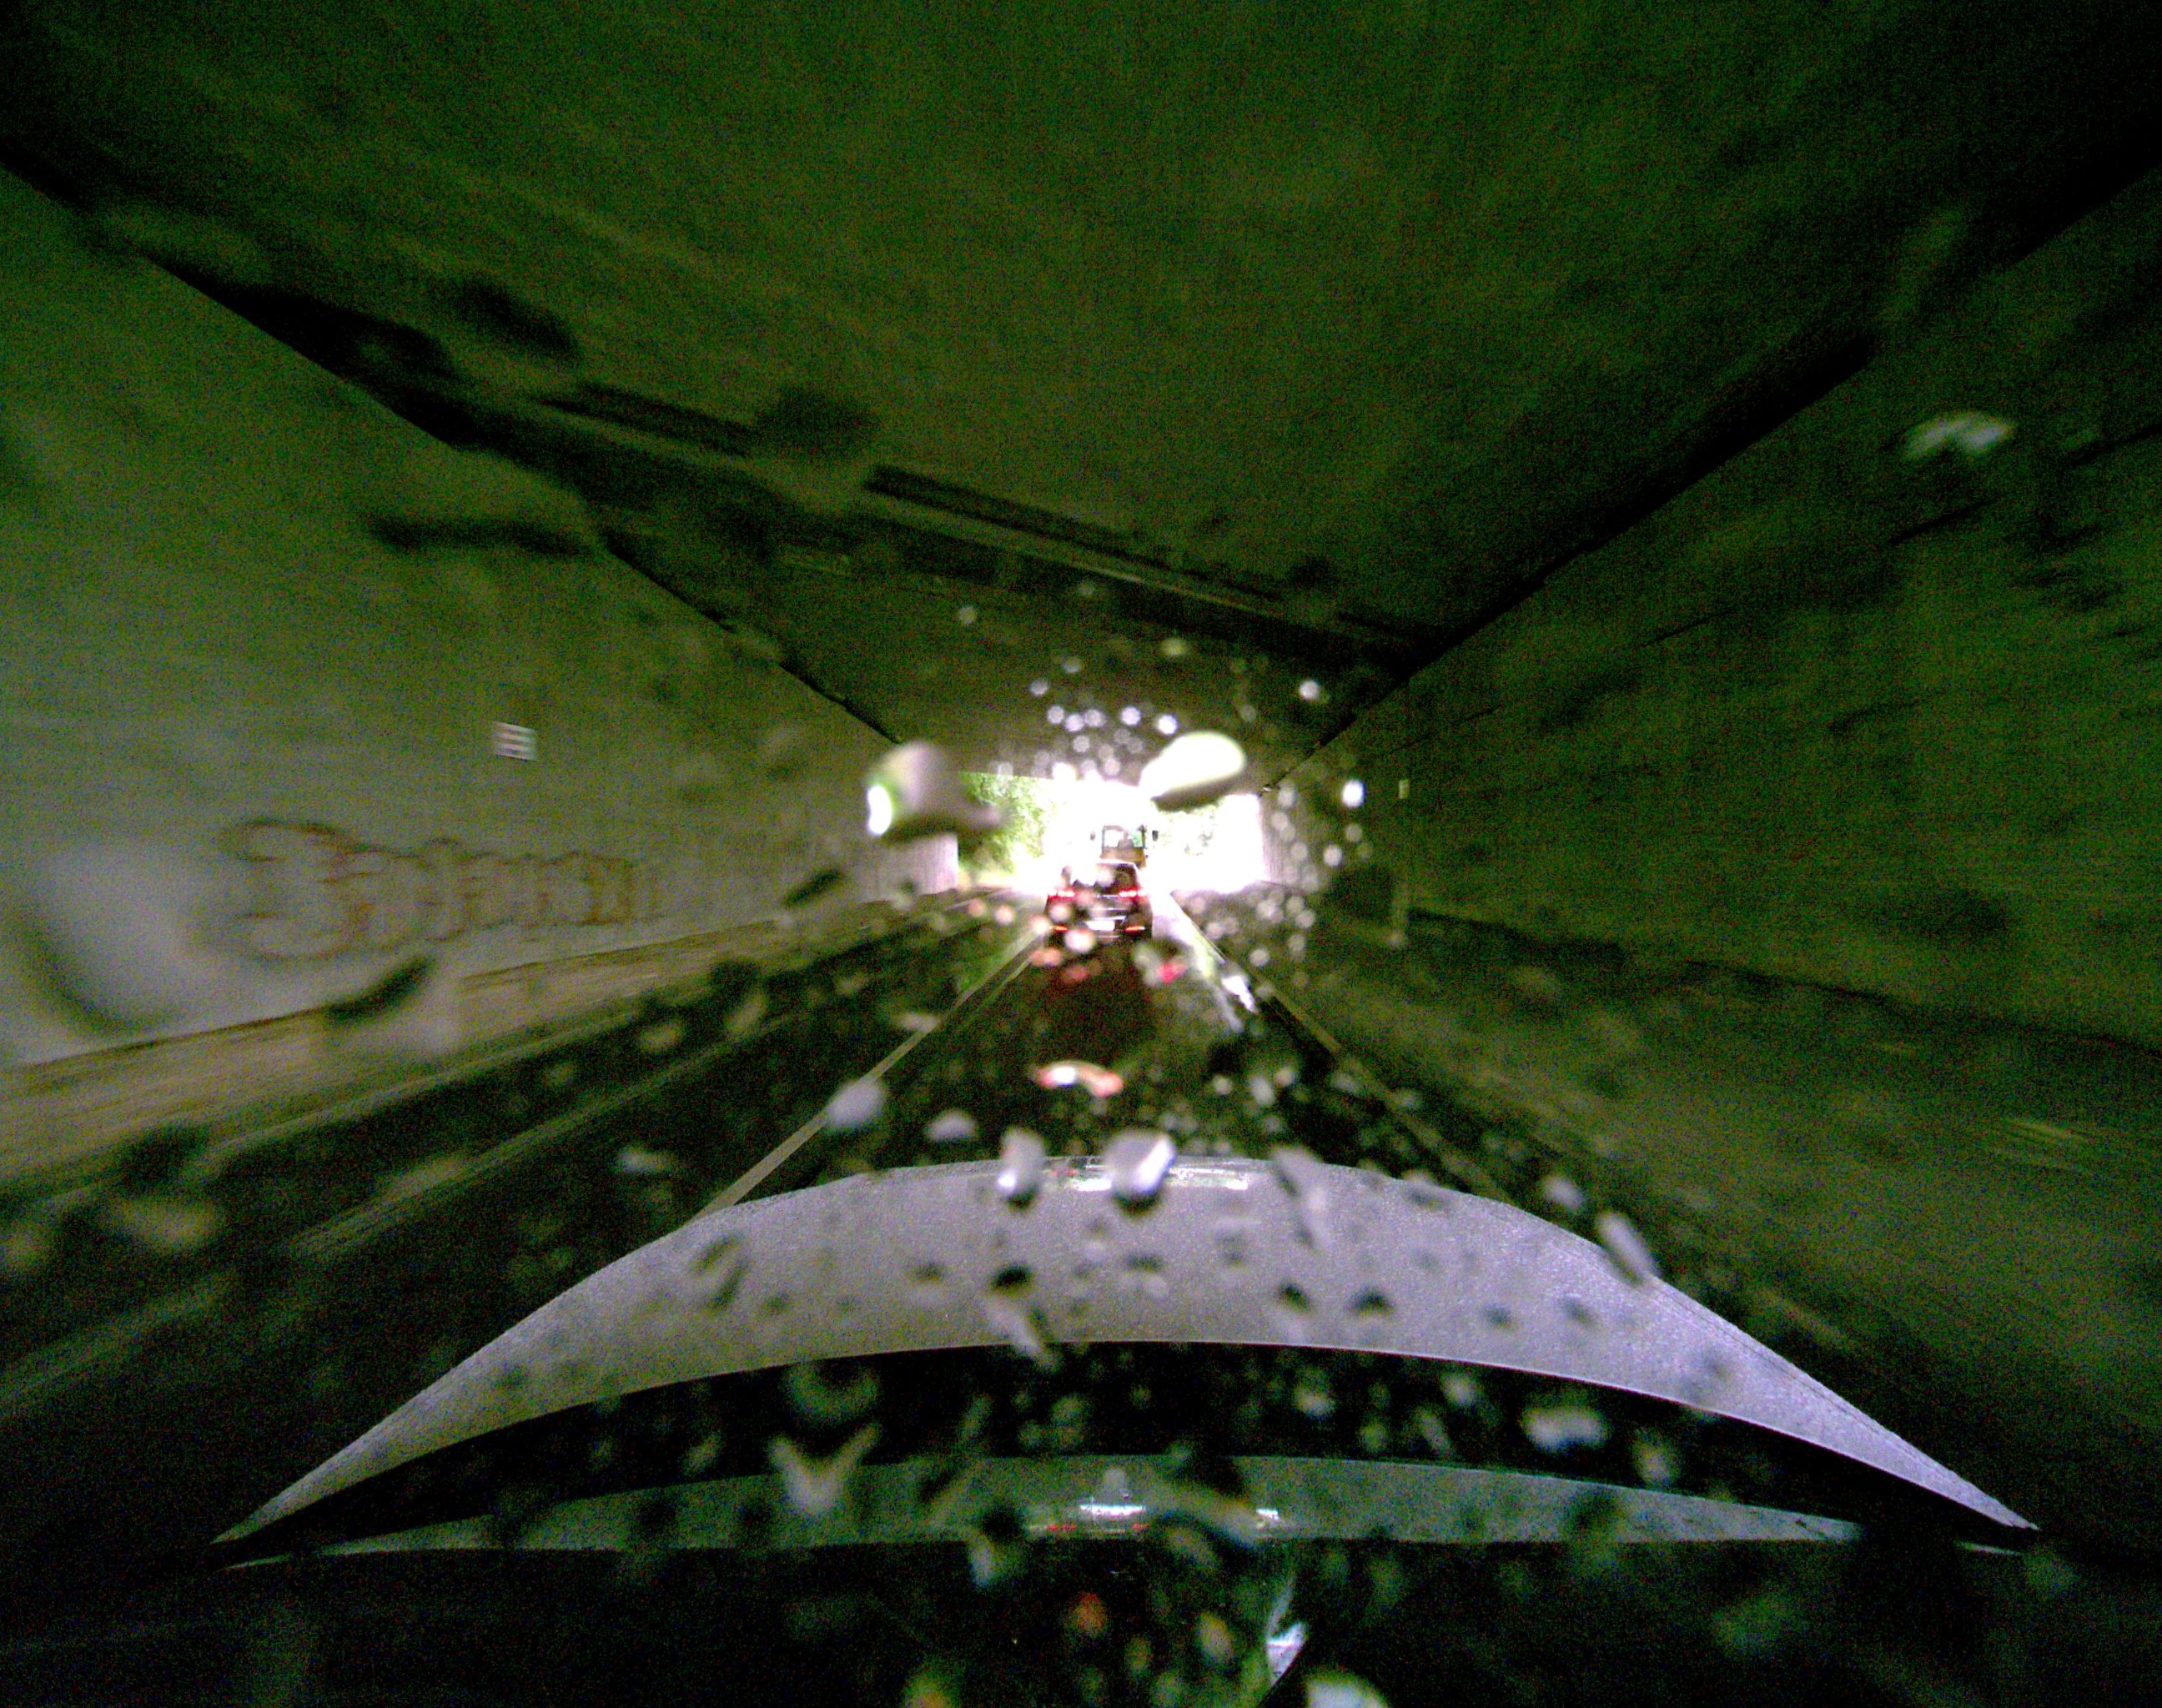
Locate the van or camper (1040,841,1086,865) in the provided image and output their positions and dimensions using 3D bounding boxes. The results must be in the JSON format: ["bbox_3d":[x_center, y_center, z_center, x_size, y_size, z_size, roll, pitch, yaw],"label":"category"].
[{"bbox_3d":[-1.661,-0.074,72.347,2.007,2.098,4.644,1,0,-32],"label":"van or camper"}]

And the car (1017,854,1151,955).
[{"bbox_3d":[0.058,0.756,14.125,1.987,1.487,4.000,1,0,0],"label":"car"}]

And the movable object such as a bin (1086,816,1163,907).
[{"bbox_3d":[1.441,0.219,27.430,2.237,2.669,6.630,1,0,2],"label":"movable object such as a bin"}]
